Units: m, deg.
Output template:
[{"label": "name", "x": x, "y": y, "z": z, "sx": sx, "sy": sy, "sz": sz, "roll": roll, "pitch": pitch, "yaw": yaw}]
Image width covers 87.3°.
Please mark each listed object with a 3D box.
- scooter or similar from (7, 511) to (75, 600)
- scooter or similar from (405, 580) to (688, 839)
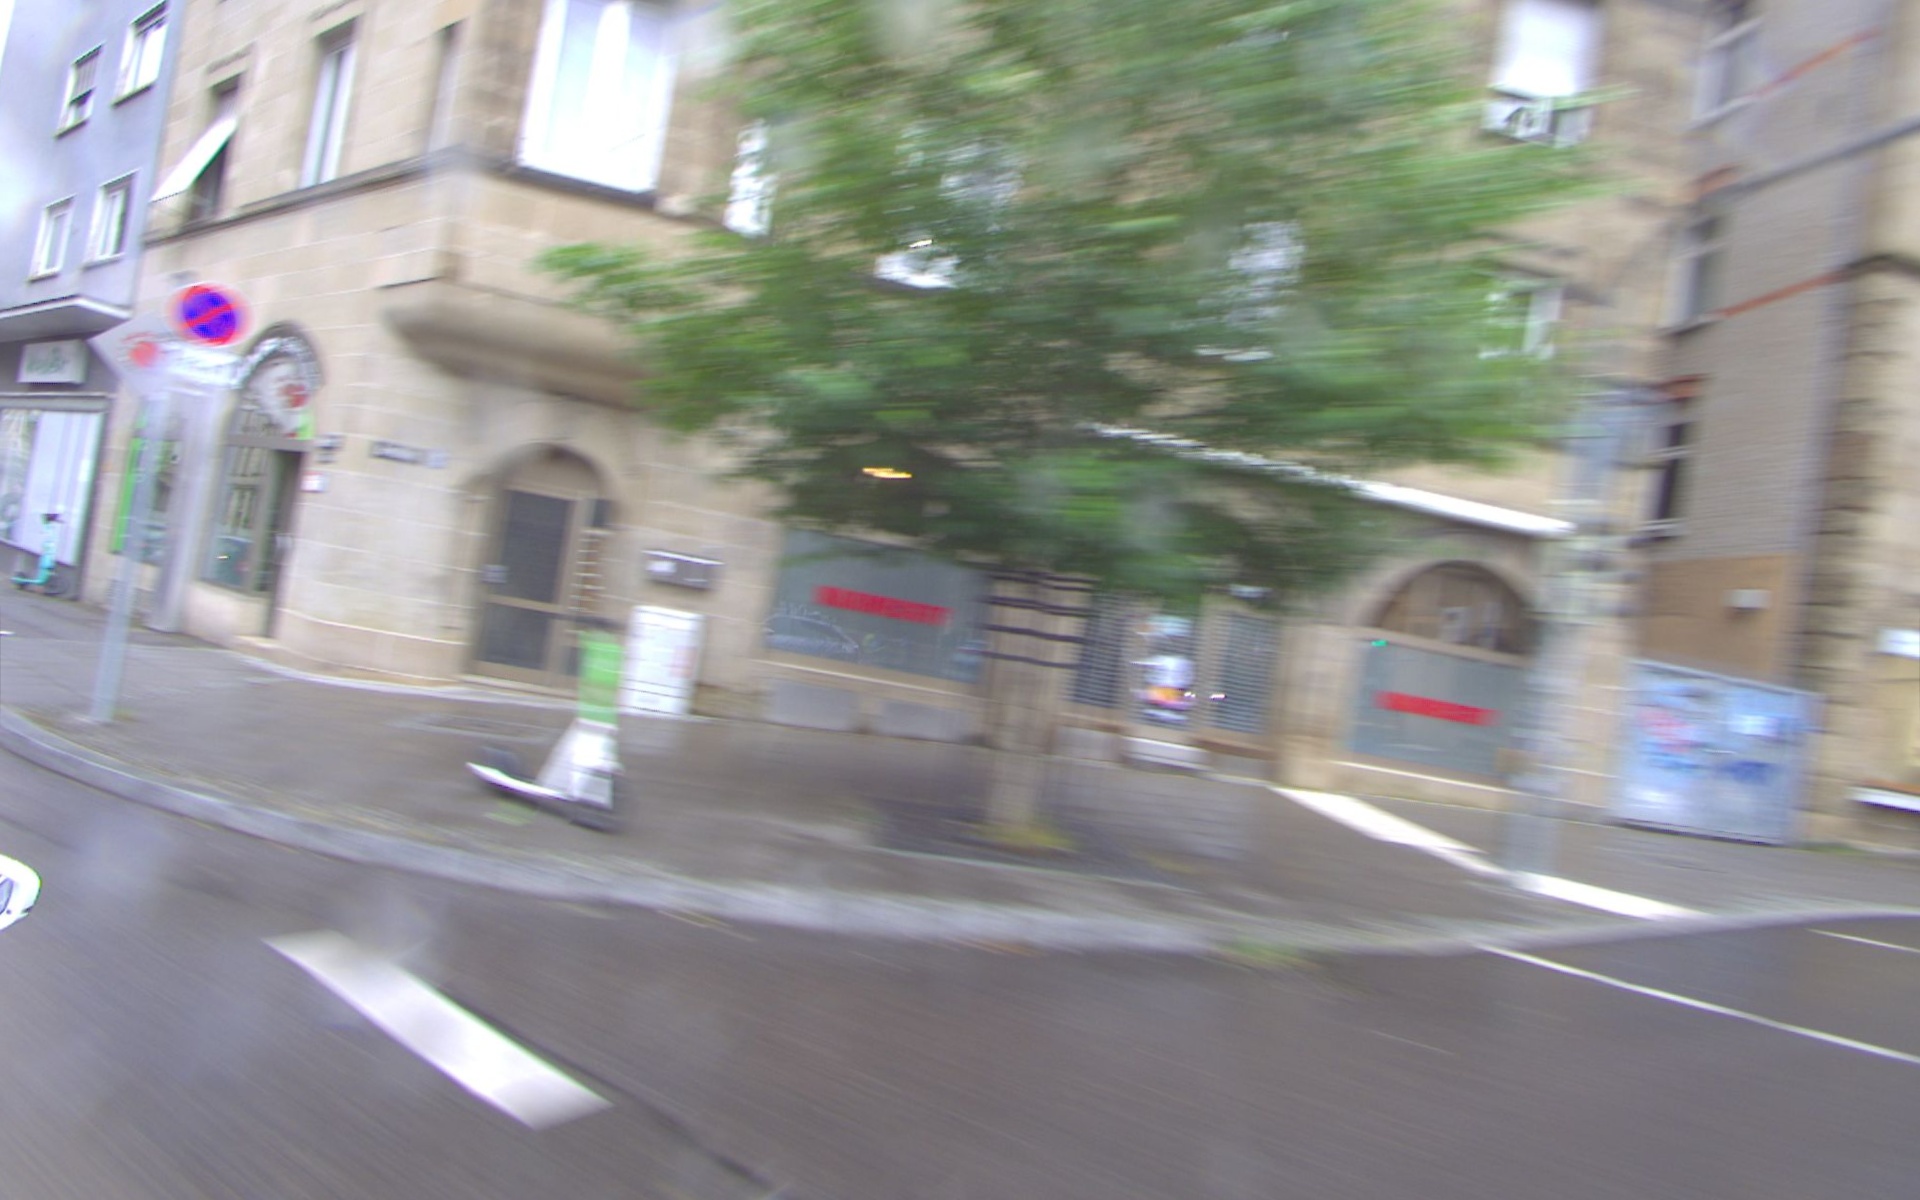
[{"label": "scooter or similar", "x": -14.049, "y": -0.687, "z": 15.369, "sx": 1.089, "sy": 1.230, "sz": 0.395, "roll": 7, "pitch": -1, "yaw": 34}, {"label": "scooter or similar", "x": -2.449, "y": 0.594, "z": 5.917, "sx": 1.527, "sy": 1.224, "sz": 0.639, "roll": 7, "pitch": -1, "yaw": 32}]
